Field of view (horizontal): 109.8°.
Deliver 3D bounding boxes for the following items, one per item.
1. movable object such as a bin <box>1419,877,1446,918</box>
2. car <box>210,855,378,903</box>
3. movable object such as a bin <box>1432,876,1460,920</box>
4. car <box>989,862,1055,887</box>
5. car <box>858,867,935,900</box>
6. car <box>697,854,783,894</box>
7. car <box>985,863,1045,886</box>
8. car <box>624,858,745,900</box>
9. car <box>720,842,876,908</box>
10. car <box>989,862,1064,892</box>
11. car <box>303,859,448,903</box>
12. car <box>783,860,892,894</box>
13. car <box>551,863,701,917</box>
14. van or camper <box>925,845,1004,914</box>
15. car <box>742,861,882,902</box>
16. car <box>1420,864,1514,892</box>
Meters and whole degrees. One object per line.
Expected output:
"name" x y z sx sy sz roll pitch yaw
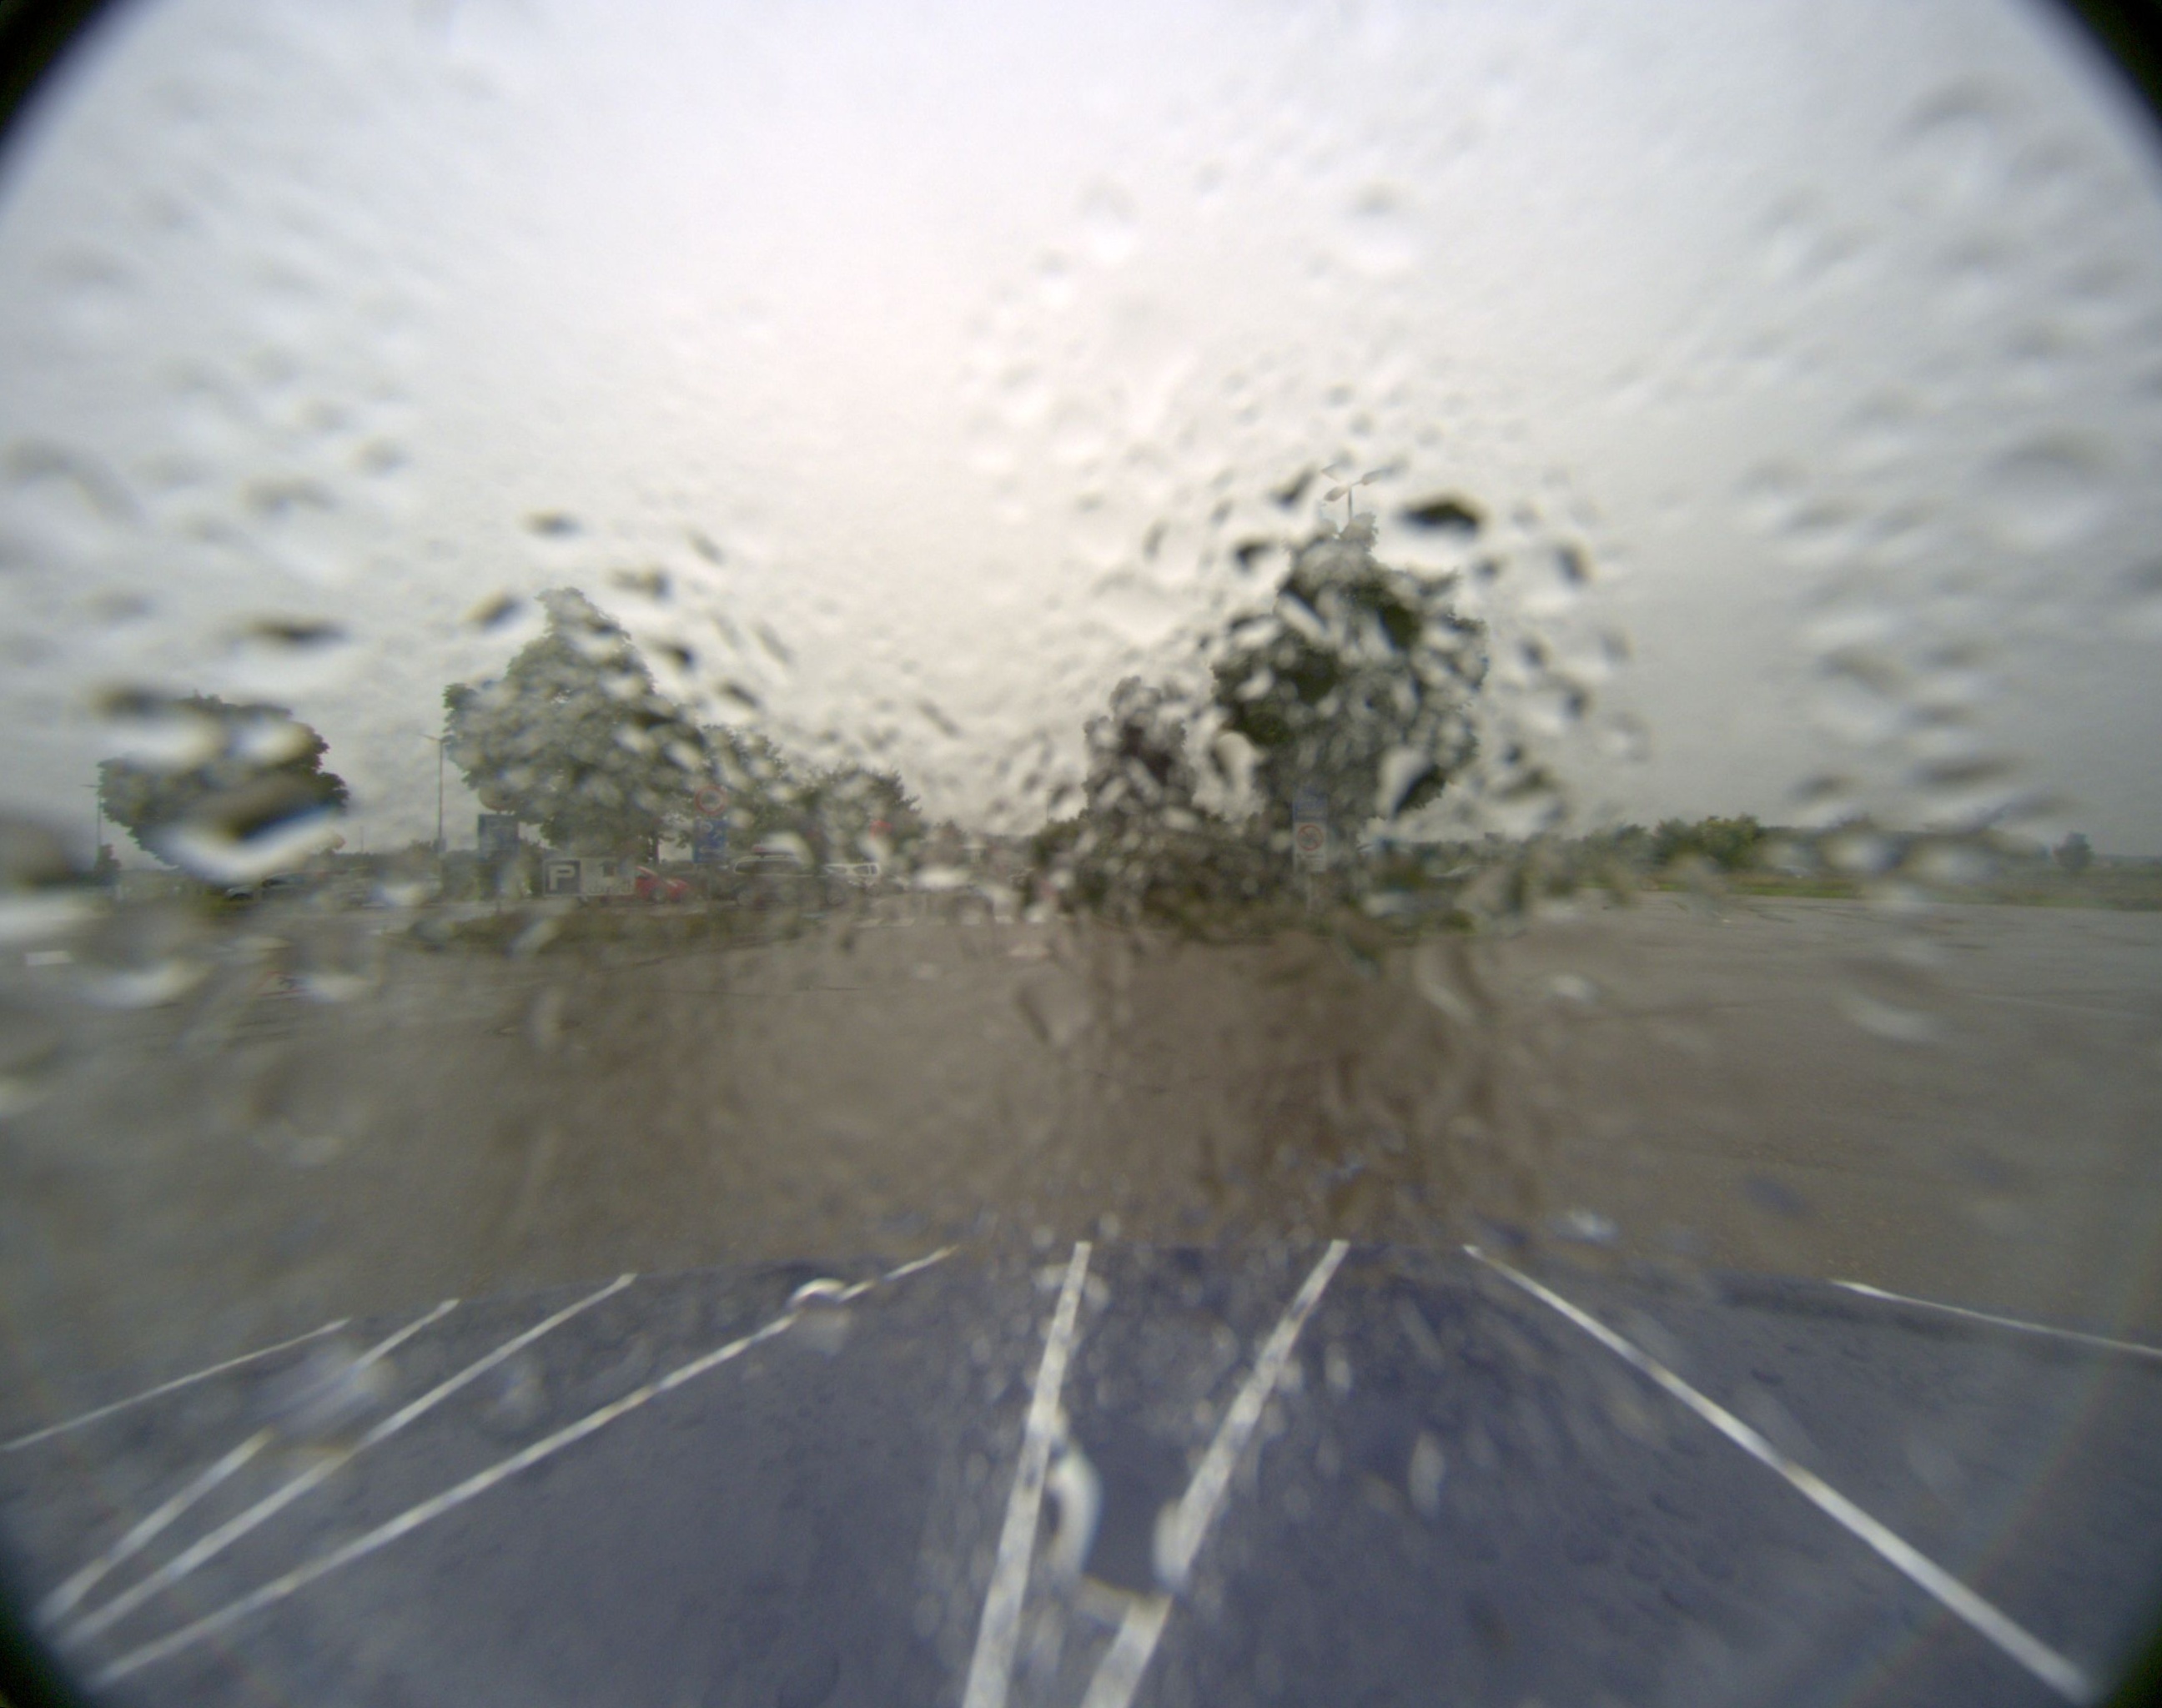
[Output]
"movable object such as a bin" 8.053 0.981 17.406 0.449 0.911 0.489 1 0 13
"car" -28.741 0.882 27.876 4.047 1.683 1.798 0 1 -6
"movable object such as a bin" 8.083 0.964 16.850 0.449 0.933 0.489 1 0 13
"car" -3.770 1.298 48.155 4.094 1.488 1.765 0 0 -8
"car" -12.160 1.920 50.295 4.768 2.069 1.998 0 1 -8
"car" -17.669 1.023 39.504 3.787 2.002 1.785 0 0 -12
"car" -4.616 1.411 52.724 4.094 1.488 1.765 0 0 -8
"car" -17.458 1.087 33.664 4.402 1.768 1.923 0 1 -11
"car" -9.735 0.713 26.510 4.768 2.176 1.998 0 1 -8
"car" -3.081 1.287 42.653 4.094 1.619 1.785 0 1 -8
"car" -28.529 1.065 30.842 4.048 1.683 1.712 0 1 -8
"car" -11.833 1.104 37.232 4.768 1.578 1.998 0 0 -8
"car" -16.822 1.303 28.329 4.402 1.874 1.923 0 1 -11
"van or camper" -3.805 0.733 24.069 2.195 1.934 5.192 0 0 -12
"car" -10.230 1.036 29.174 4.768 1.463 1.884 0 0 -8
"car" 20.356 1.251 40.190 4.076 1.425 1.779 1 0 -1
